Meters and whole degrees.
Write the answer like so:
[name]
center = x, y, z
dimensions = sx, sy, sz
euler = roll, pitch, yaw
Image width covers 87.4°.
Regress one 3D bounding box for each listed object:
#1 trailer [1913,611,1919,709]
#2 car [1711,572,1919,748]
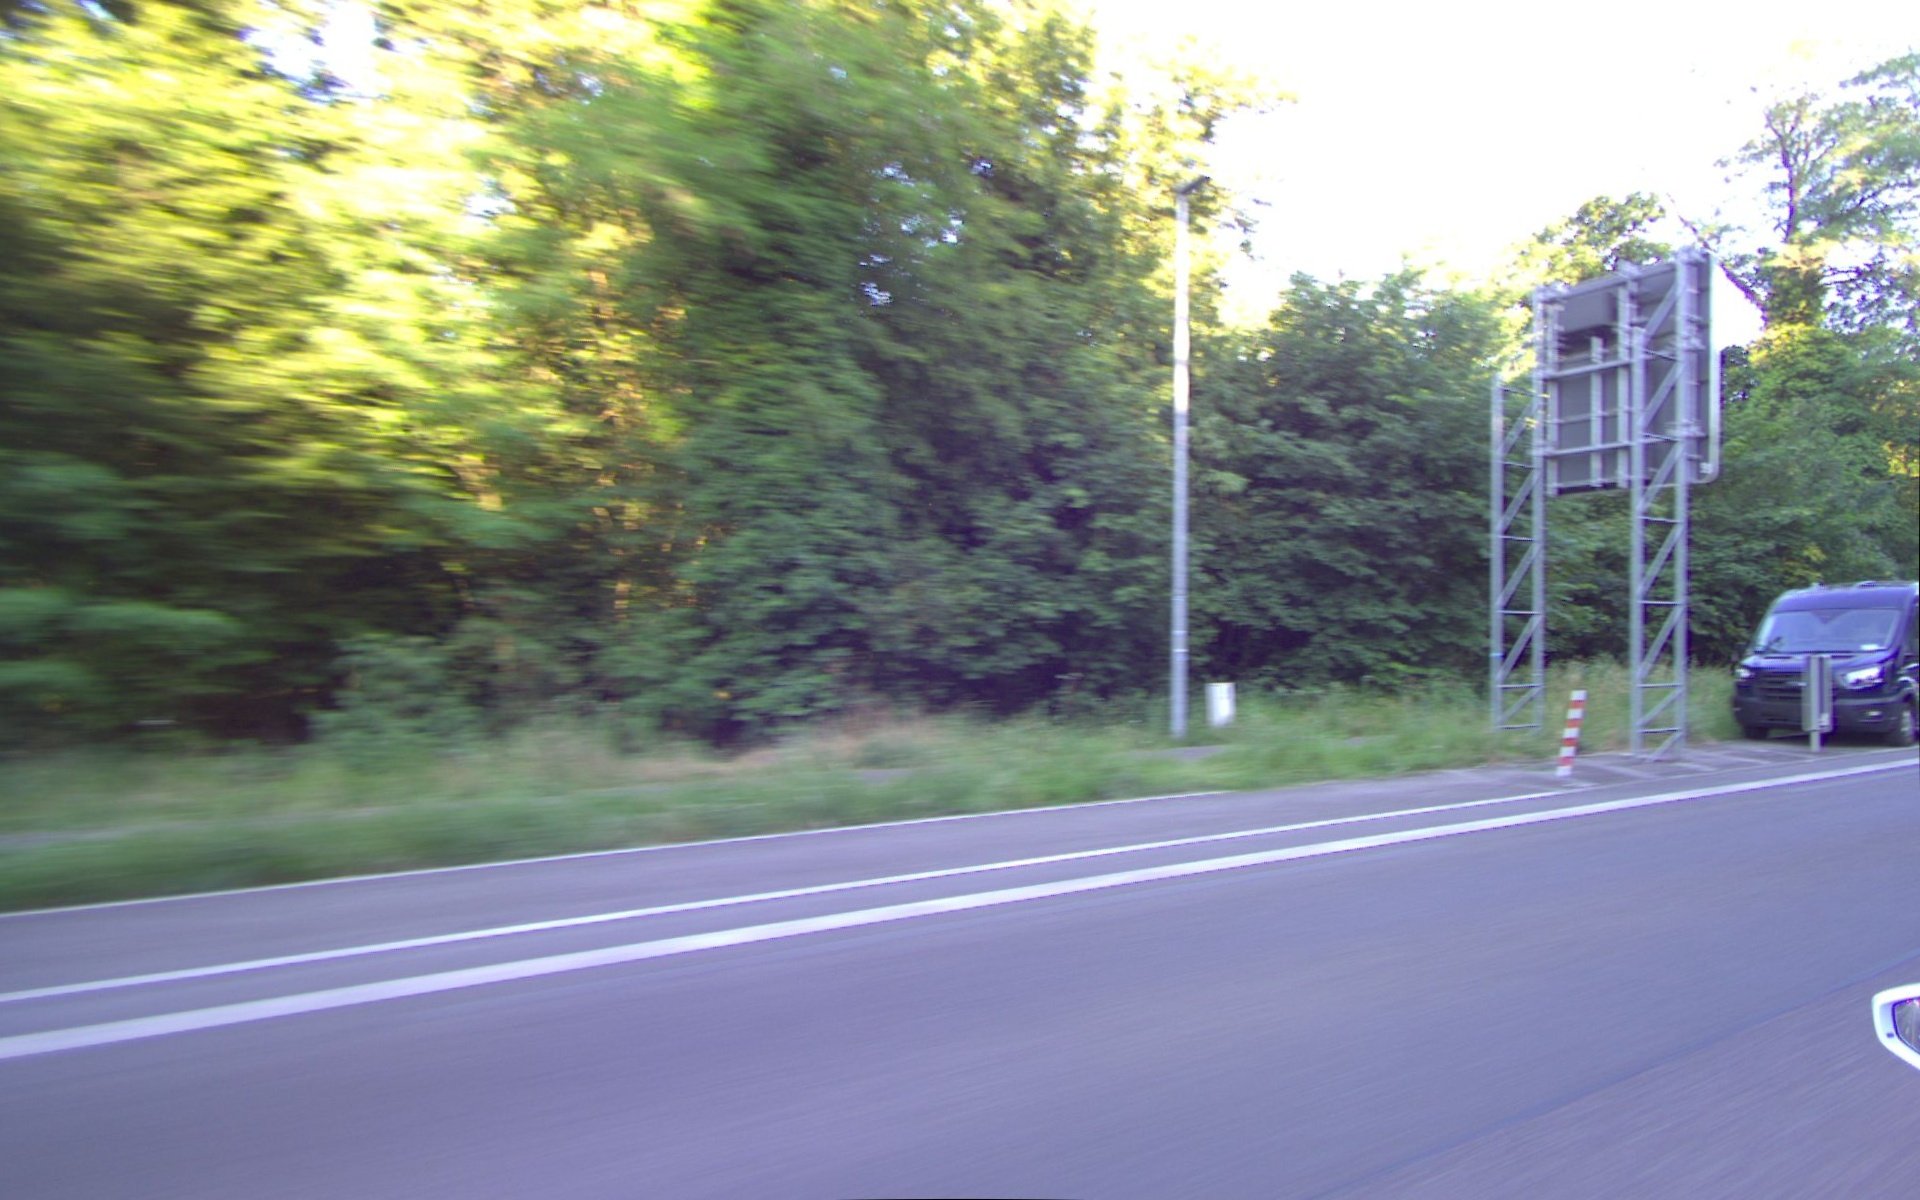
[trailer]
center = 23.526, 1.327, 21.940
dimensions = 3.858, 2.183, 1.967
euler = 0, -2, -9
[car]
center = 14.520, 0.935, 15.987
dimensions = 5.698, 2.395, 1.985
euler = 1, -4, -30
